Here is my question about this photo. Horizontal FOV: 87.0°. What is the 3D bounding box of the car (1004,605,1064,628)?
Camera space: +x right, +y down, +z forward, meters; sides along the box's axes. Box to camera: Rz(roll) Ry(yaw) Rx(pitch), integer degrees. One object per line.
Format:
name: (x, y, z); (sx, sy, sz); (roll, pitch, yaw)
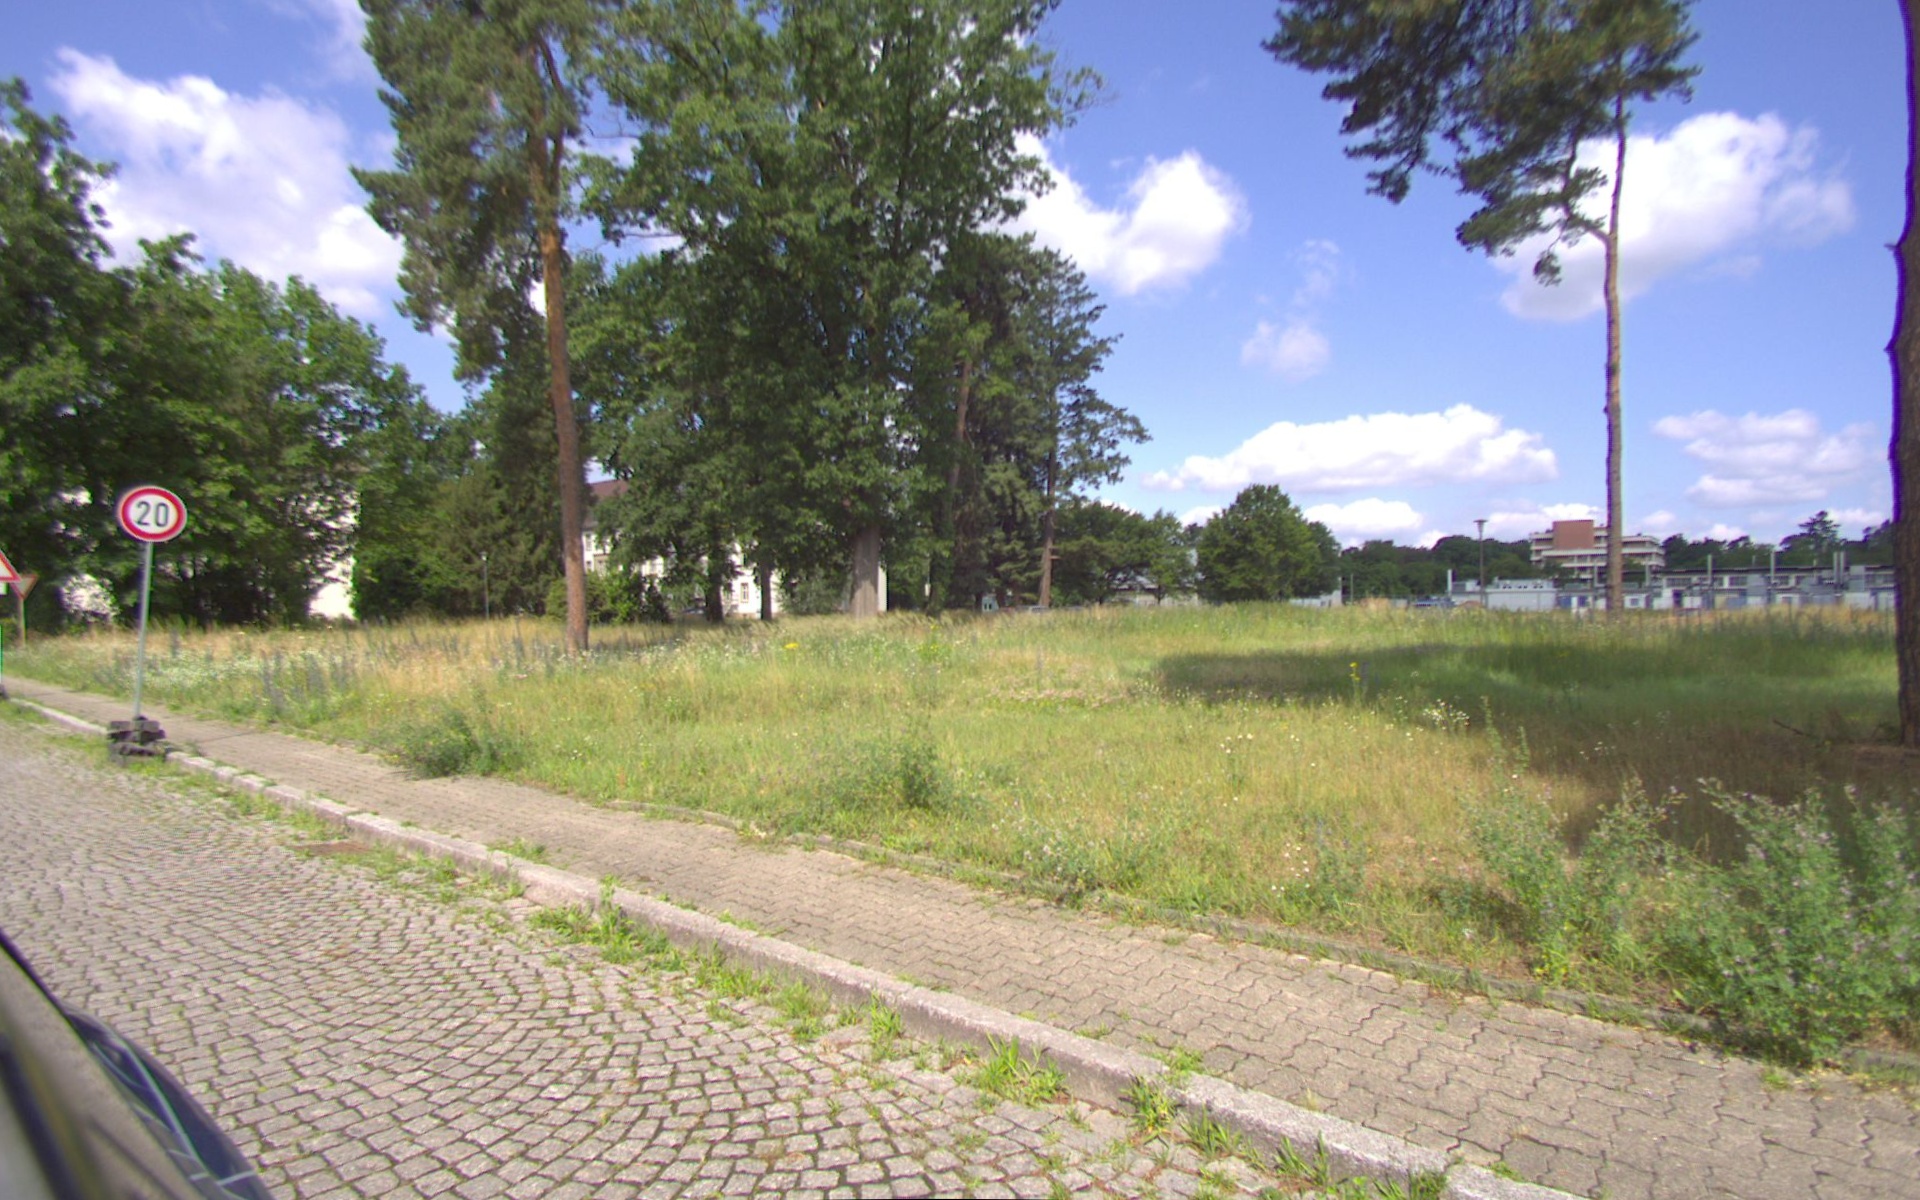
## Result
car: (4.754, 1.042, 64.766); (1.898, 1.423, 4.018); (-1, -1, 39)
